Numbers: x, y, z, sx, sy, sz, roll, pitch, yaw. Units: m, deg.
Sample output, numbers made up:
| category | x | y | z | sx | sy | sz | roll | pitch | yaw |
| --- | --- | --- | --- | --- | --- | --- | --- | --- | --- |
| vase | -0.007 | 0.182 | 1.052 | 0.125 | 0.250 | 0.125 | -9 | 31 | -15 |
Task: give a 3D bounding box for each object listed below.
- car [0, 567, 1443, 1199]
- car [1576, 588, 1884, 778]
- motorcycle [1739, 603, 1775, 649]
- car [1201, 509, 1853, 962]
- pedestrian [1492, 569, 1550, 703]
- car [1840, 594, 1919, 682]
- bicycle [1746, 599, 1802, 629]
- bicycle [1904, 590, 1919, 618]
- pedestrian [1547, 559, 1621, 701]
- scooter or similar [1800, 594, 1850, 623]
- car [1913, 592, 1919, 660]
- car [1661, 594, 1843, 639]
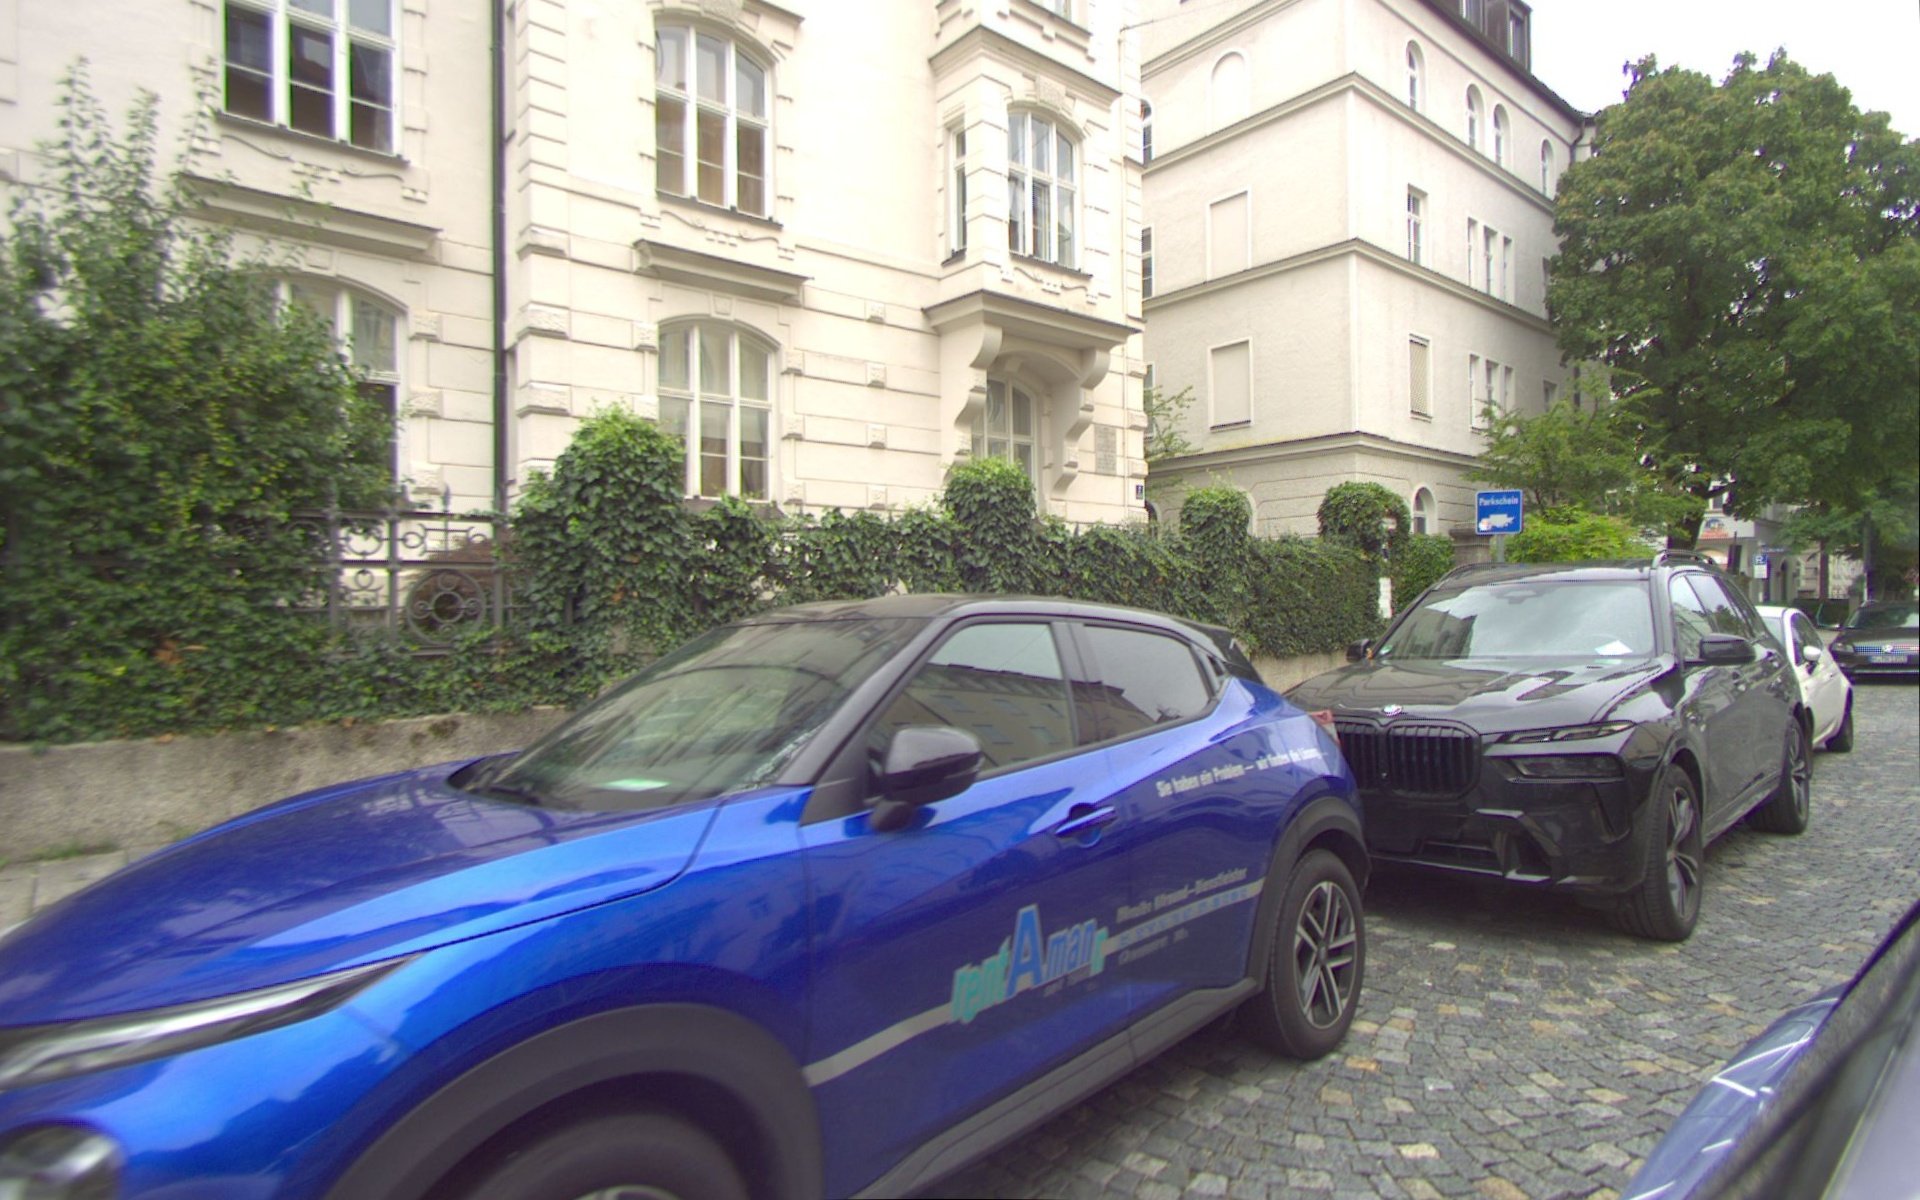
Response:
| category | x | y | z | sx | sy | sz | roll | pitch | yaw |
| --- | --- | --- | --- | --- | --- | --- | --- | --- | --- |
| car | -0.309 | 0.732 | 3.049 | 4.179 | 1.501 | 1.710 | -1 | -3 | -43 |
| car | 7.661 | 0.700 | 9.959 | 3.595 | 1.488 | 1.632 | -1 | -3 | -41 |
| motorcycle | 20.086 | 0.656 | 25.494 | 1.378 | 1.104 | 0.363 | -1 | -1 | -38 |
| car | 3.882 | 0.476 | 6.303 | 5.397 | 1.694 | 1.877 | -1 | -1 | -42 |
| pedestrian | 7.938 | 0.499 | 14.340 | 0.624 | 1.831 | 0.654 | -2 | -1 | 27 |
| car | 18.121 | 0.636 | 19.095 | 4.553 | 1.440 | 1.649 | -1 | -4 | -42 |
| bicycle | 32.326 | 0.549 | 40.183 | 0.726 | 1.082 | 1.606 | -5 | 4 | -37 |
| bicycle | 43.631 | 0.194 | 46.242 | 1.700 | 1.212 | 0.429 | -1 | 4 | -40 |
| pedestrian | 8.500 | 0.392 | 13.790 | 0.668 | 1.874 | 0.577 | 0 | -2 | -33 |
| scooter or similar | 36.458 | 0.348 | 42.665 | 0.396 | 1.187 | 1.611 | -1 | 0 | -17 |
| car | 23.051 | 0.528 | 23.048 | 3.728 | 1.489 | 1.505 | -1 | 0 | -40 |
| car | 26.359 | 0.538 | 33.841 | 1.726 | 1.375 | 4.483 | -1 | 0 | -32 |
